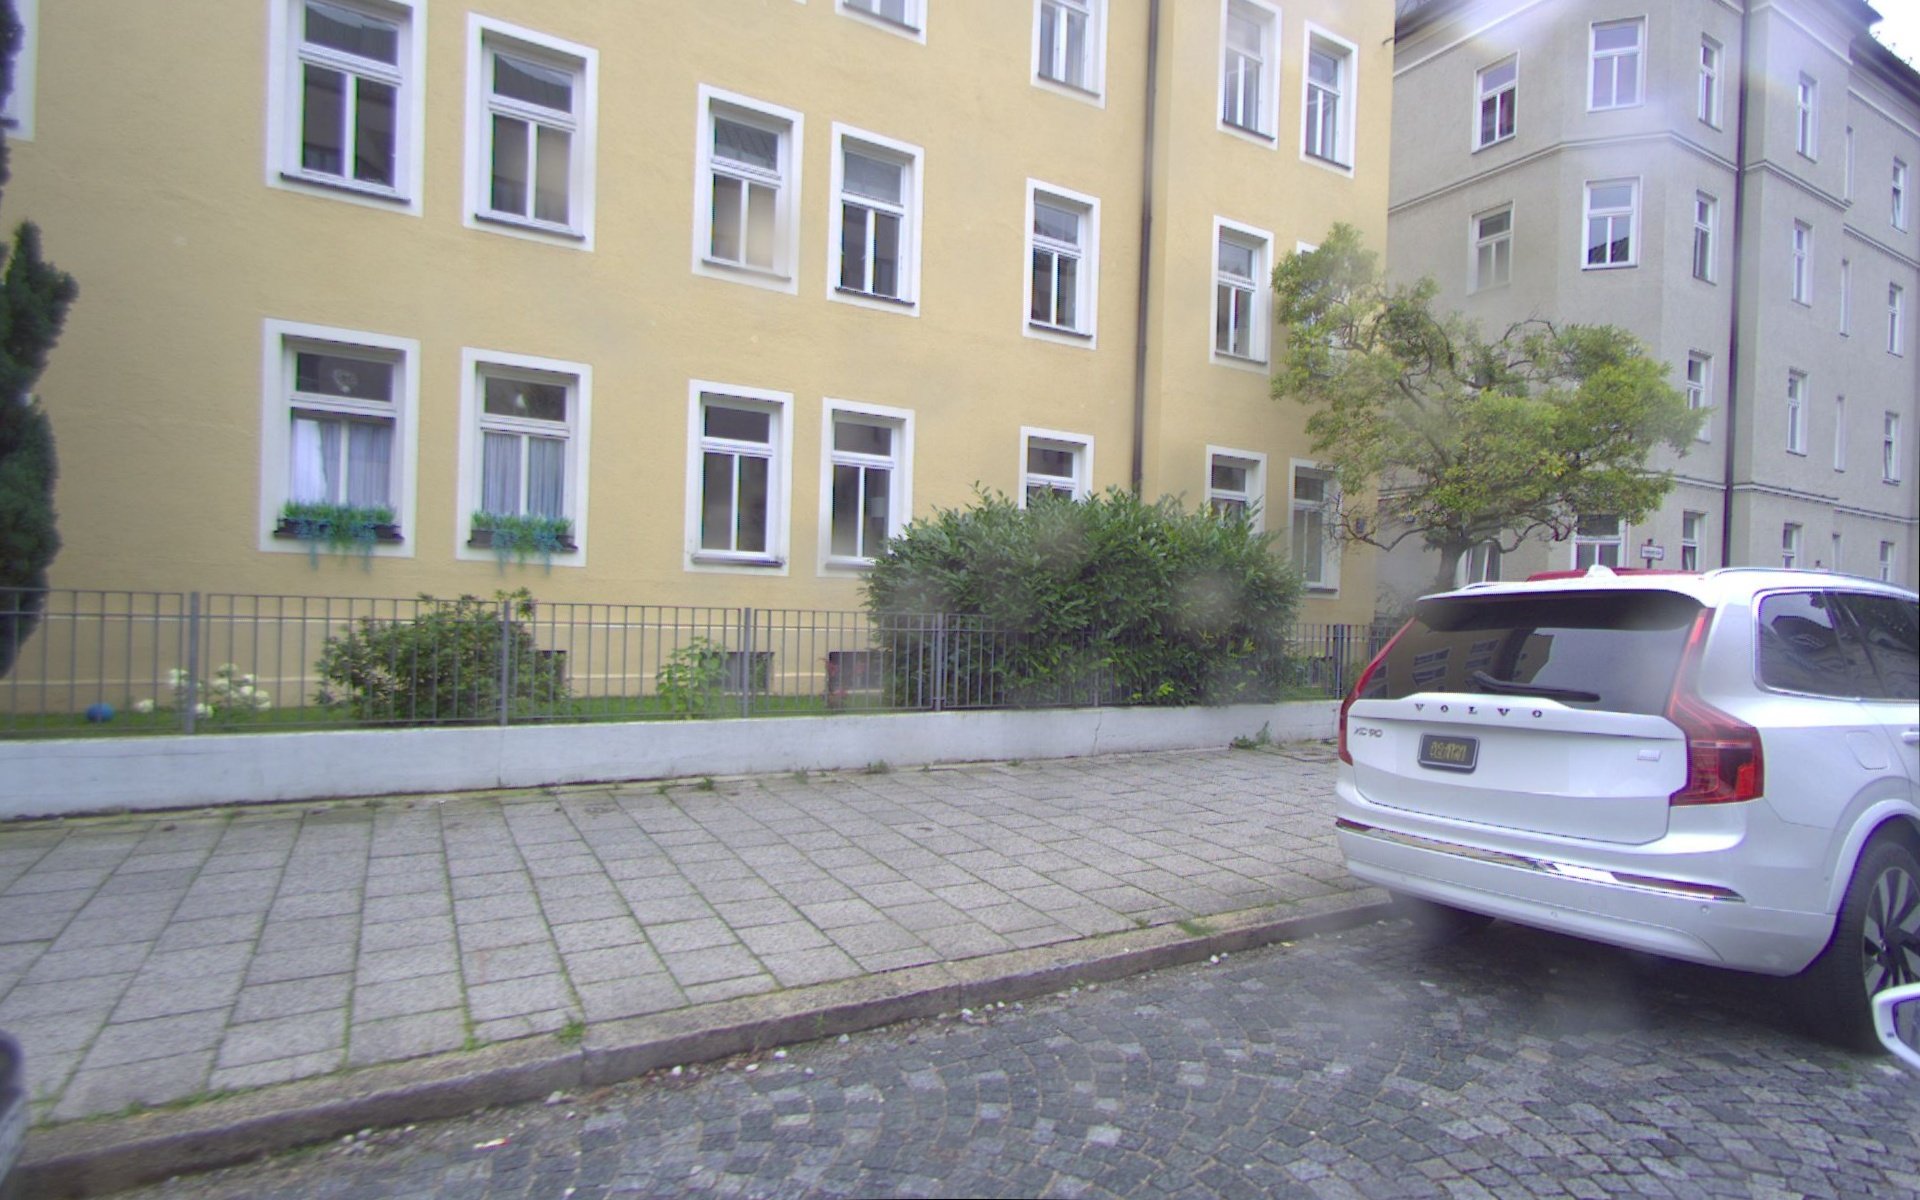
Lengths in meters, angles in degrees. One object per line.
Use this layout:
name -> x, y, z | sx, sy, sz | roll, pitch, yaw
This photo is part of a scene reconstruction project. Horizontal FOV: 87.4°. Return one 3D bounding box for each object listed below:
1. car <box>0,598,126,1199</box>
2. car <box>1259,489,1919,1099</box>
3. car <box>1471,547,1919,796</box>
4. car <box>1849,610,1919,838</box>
car -> -3.356, 0.659, 0.768 | 3.890, 1.437, 1.721 | 2, -2, -30
car -> 4.128, 0.672, 5.172 | 5.112, 1.833, 1.997 | 2, -2, -30
car -> 7.680, 0.598, 10.120 | 5.270, 1.957, 1.983 | 2, 2, -32
car -> 9.720, 0.993, 8.451 | 4.699, 1.757, 1.909 | 2, -4, -30
